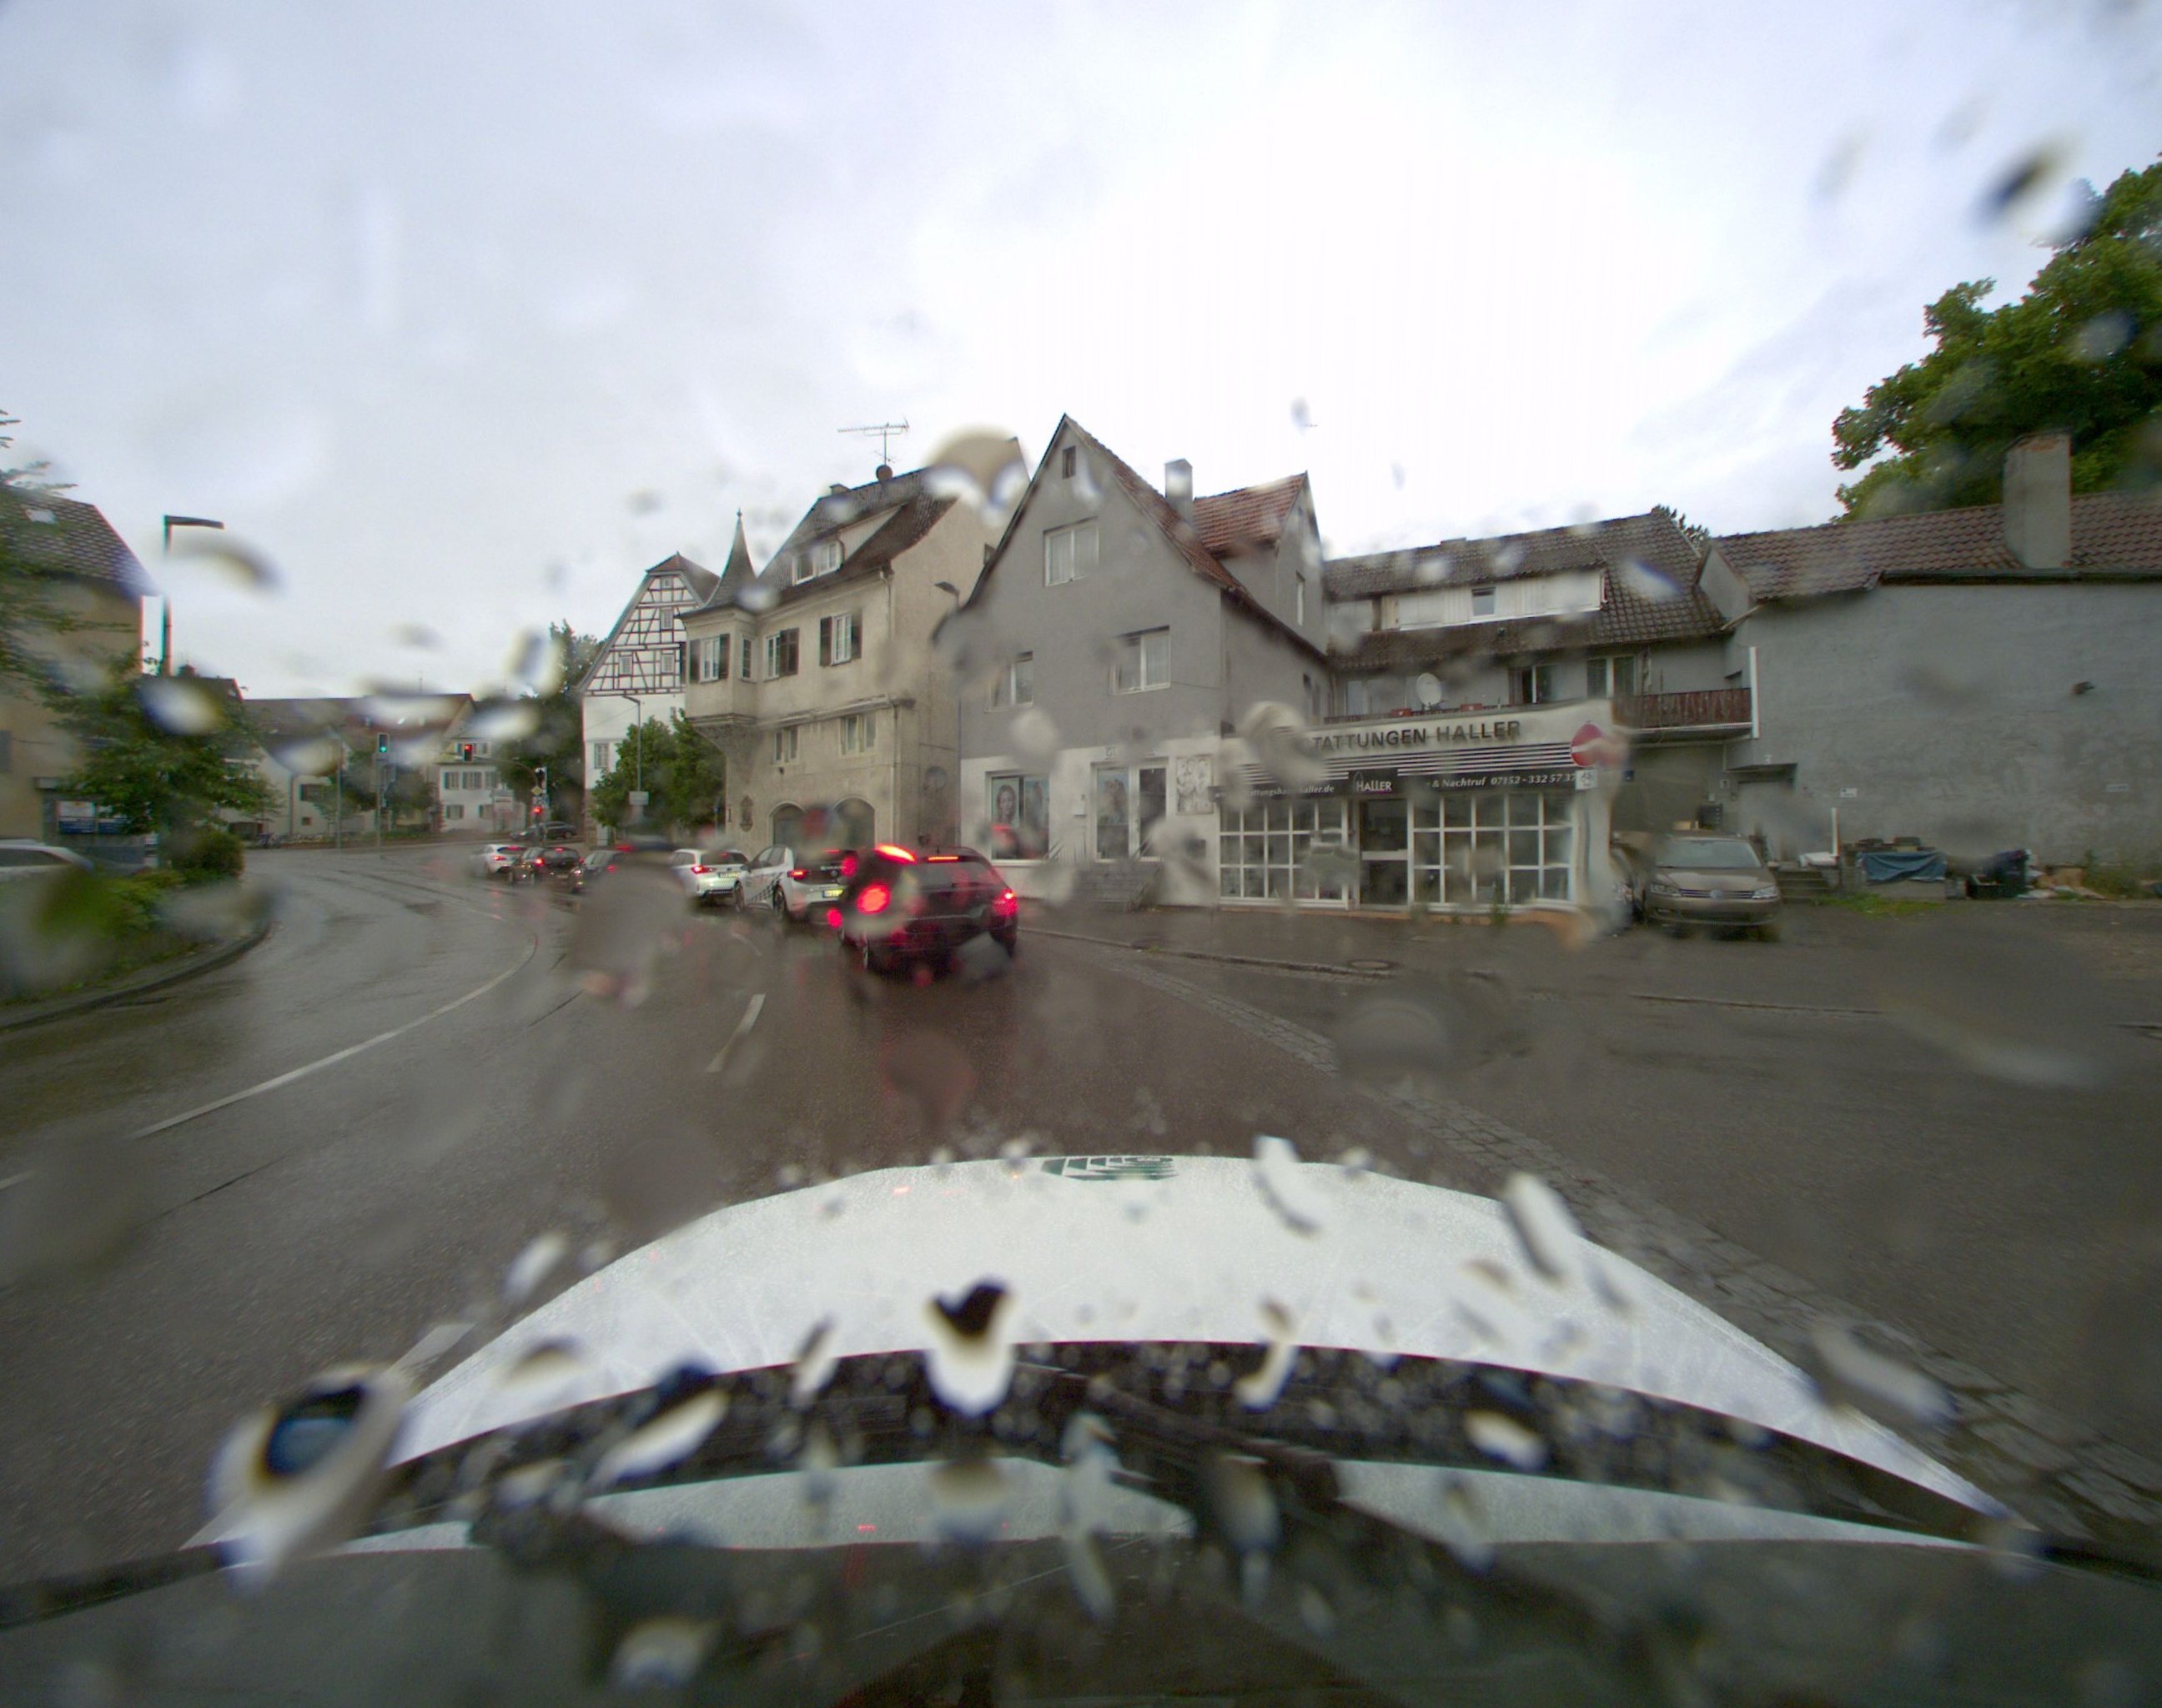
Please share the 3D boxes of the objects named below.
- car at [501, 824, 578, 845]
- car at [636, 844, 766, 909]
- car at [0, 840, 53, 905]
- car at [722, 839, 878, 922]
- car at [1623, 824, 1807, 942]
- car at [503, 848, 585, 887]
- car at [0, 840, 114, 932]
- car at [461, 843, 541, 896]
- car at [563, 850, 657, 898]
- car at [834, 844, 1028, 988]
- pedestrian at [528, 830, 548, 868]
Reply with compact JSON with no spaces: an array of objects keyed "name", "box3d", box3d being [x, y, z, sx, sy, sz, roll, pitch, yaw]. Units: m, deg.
[{"name":"car","box3d":[-40.302,-1.440,60.760,1.632,1.389,4.553,7,3,21]},{"name":"car","box3d":[-10.122,0.508,21.555,4.113,1.465,1.802,1,3,45]},{"name":"car","box3d":[-27.082,0.465,18.946,1.692,1.576,3.556,0,1,21]},{"name":"car","box3d":[-6.075,0.484,17.326,1.804,1.517,4.192,-2,1,-38]},{"name":"car","box3d":[11.102,0.360,14.621,1.905,1.727,4.698,0,2,29]},{"name":"car","box3d":[-20.217,0.455,30.612,3.578,1.312,1.678,1,3,42]},{"name":"car","box3d":[-20.823,0.601,14.957,1.692,1.685,3.556,0,1,21]},{"name":"car","box3d":[-25.108,0.587,35.201,3.911,2.090,1.992,1,3,42]},{"name":"car","box3d":[-15.328,0.589,26.423,3.720,1.361,1.533,1,3,42]},{"name":"car","box3d":[-2.217,0.638,10.985,1.739,1.450,4.210,-2,2,-22]},{"name":"pedestrian","box3d":[-33.809,-0.311,50.703,0.873,2.326,1.216,-1,0,-43]}]
